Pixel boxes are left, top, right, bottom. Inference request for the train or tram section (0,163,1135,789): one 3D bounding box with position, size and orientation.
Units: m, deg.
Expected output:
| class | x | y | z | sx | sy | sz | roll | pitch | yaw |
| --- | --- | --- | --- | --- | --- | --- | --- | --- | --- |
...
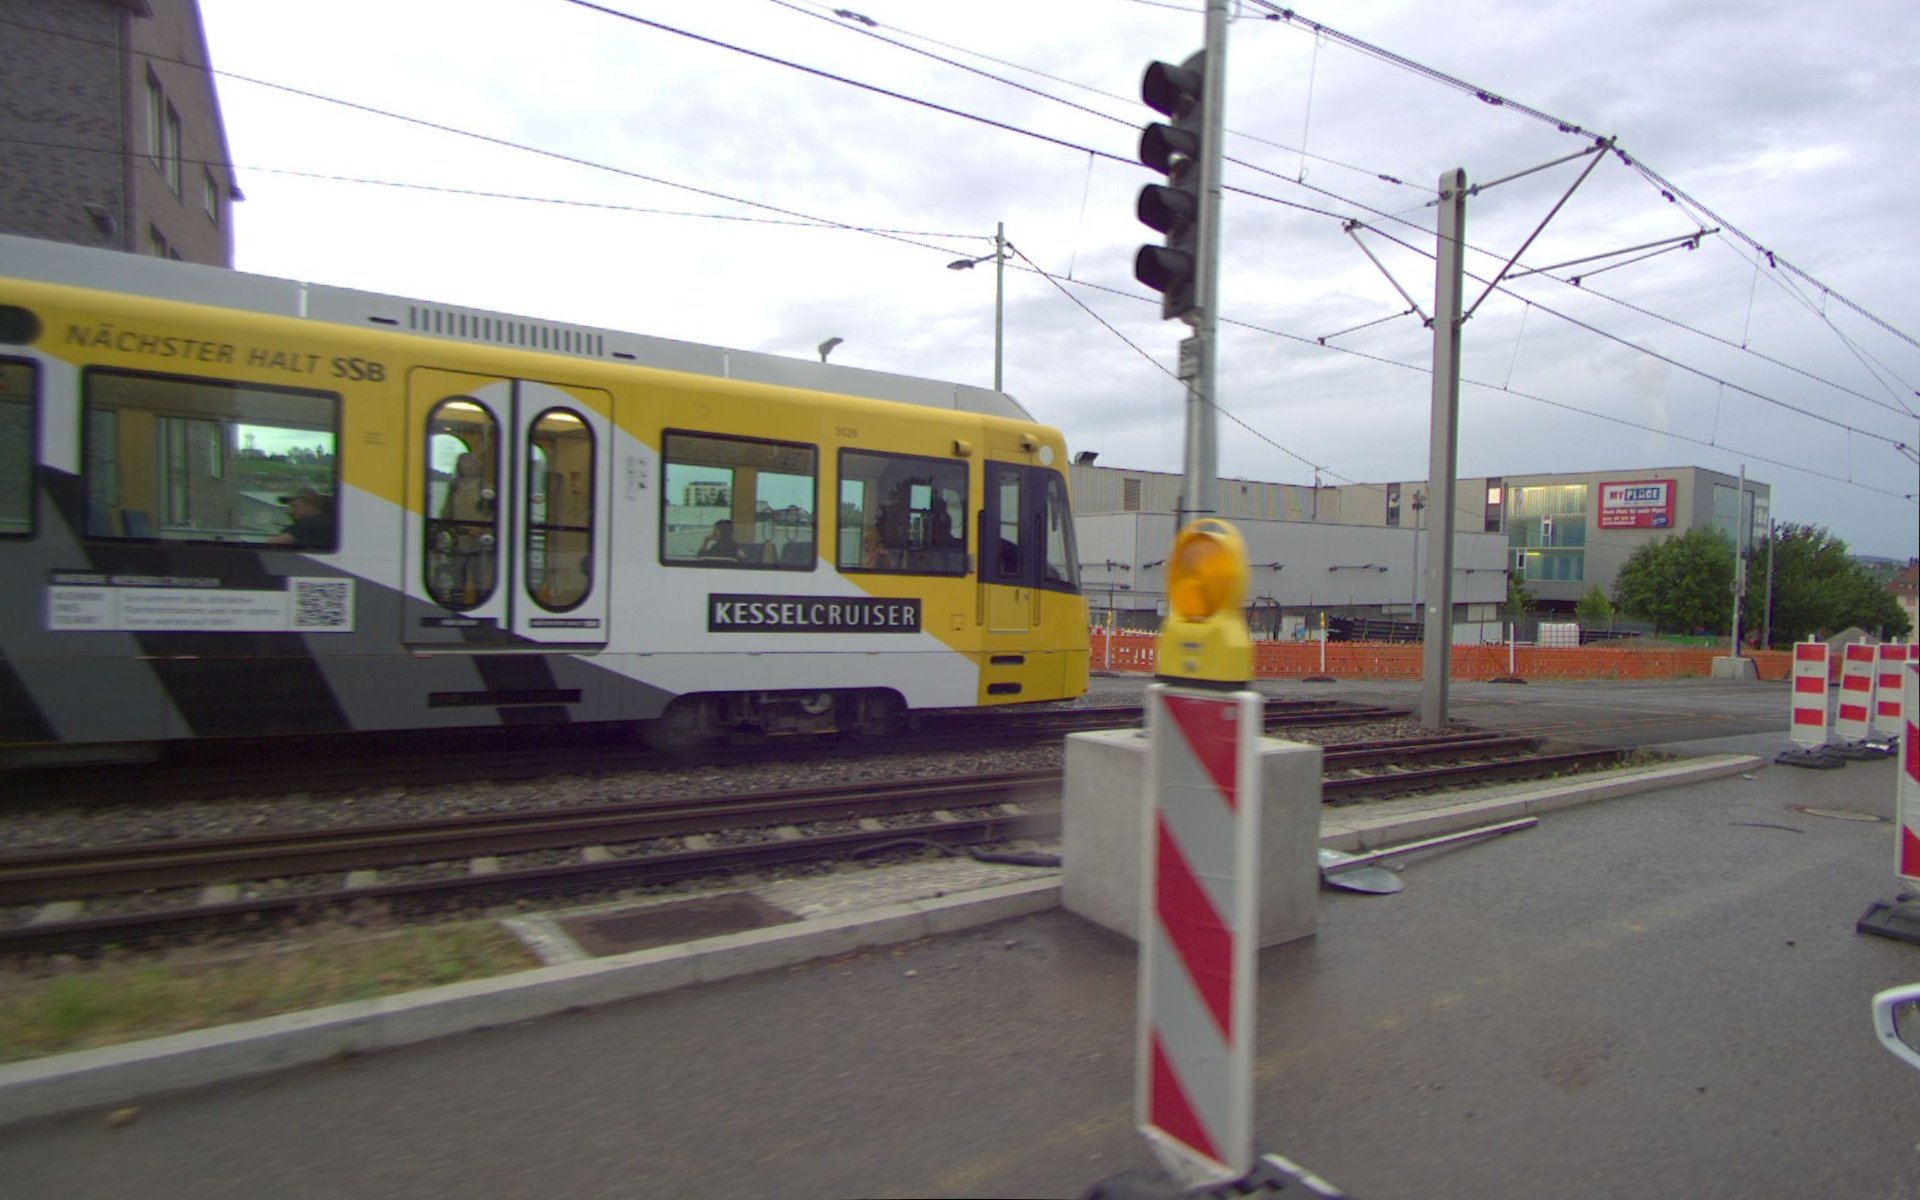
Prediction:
| class | x | y | z | sx | sy | sz | roll | pitch | yaw |
| --- | --- | --- | --- | --- | --- | --- | --- | --- | --- |
| train or tram section | -7.045 | -0.836 | 7.457 | 19.068 | 3.938 | 2.940 | 2 | 2 | -31 |
